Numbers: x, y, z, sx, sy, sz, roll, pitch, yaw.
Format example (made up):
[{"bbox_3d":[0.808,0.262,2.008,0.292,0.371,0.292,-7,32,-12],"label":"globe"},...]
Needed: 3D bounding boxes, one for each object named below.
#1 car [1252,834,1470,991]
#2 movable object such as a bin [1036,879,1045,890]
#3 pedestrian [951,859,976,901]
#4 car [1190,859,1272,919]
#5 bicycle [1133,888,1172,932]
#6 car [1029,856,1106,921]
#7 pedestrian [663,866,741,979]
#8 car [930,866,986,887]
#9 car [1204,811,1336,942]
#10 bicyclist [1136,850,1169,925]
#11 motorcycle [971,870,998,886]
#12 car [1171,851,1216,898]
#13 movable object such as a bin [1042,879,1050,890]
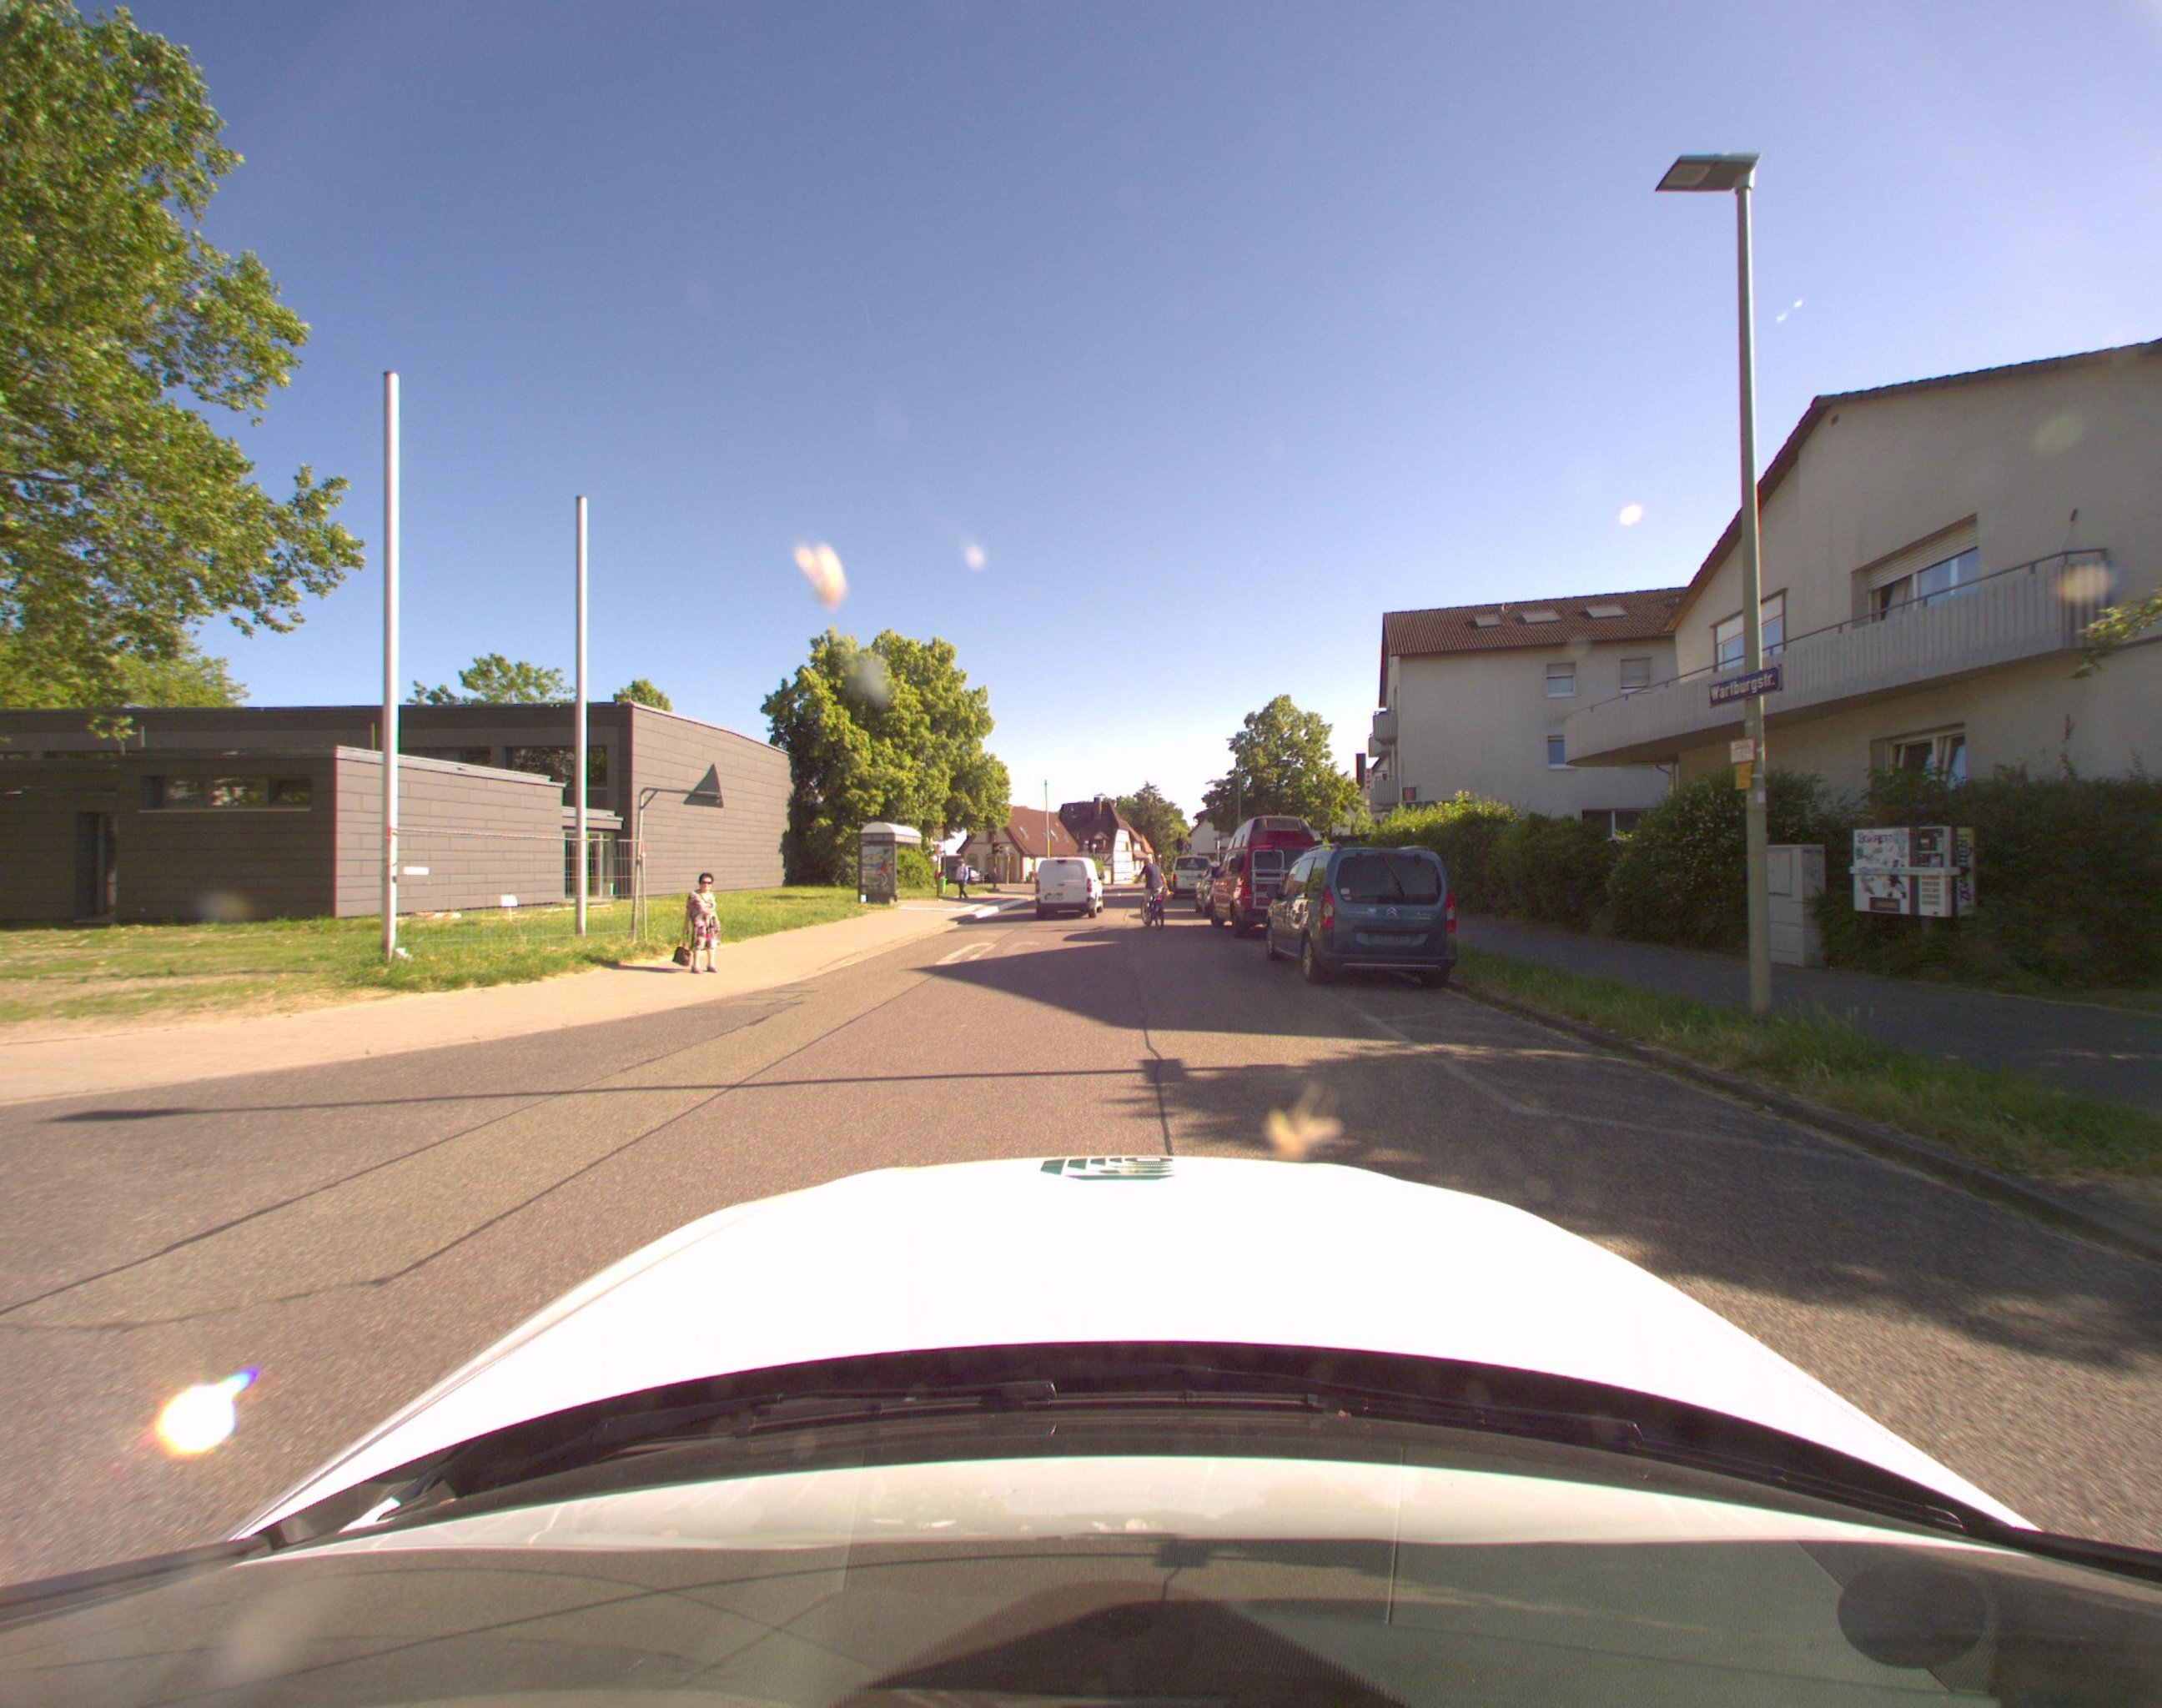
[{"bbox_3d":[3.862,0.726,12.141,1.849,1.848,4.563,2,0,3],"label":"car"},{"bbox_3d":[-3.545,2.677,71.209,0.503,0.925,0.629,-1,-1,22],"label":"movable object such as a bin"},{"bbox_3d":[-5.114,1.135,35.450,0.774,1.803,0.710,2,0,-38],"label":"pedestrian"},{"bbox_3d":[4.681,1.042,25.988,1.949,1.738,4.579,0,-1,2],"label":"car"},{"bbox_3d":[1.741,1.352,20.126,0.772,0.940,2.291,-1,-1,1],"label":"bicycle"},{"bbox_3d":[-0.327,1.008,25.837,1.948,1.848,4.566,-1,0,5],"label":"car"},{"bbox_3d":[-5.689,1.002,12.224,0.826,1.587,0.636,3,-1,36],"label":"pedestrian"},{"bbox_3d":[-10.299,1.844,68.372,4.184,1.725,1.955,0,-2,21],"label":"car"},{"bbox_3d":[4.209,0.482,19.048,1.950,2.644,5.223,0,-1,1],"label":"car"},{"bbox_3d":[1.747,0.814,20.042,0.762,1.789,0.853,0,-1,0],"label":"bicyclist"},{"bbox_3d":[-8.494,2.098,71.794,2.222,1.295,0.887,-1,1,23],"label":"motorcycle"},{"bbox_3d":[5.309,0.965,38.540,1.983,2.079,4.586,0,-1,7],"label":"car"},{"bbox_3d":[-3.041,2.646,71.019,0.408,0.906,0.629,-1,-1,22],"label":"movable object such as a bin"}]
